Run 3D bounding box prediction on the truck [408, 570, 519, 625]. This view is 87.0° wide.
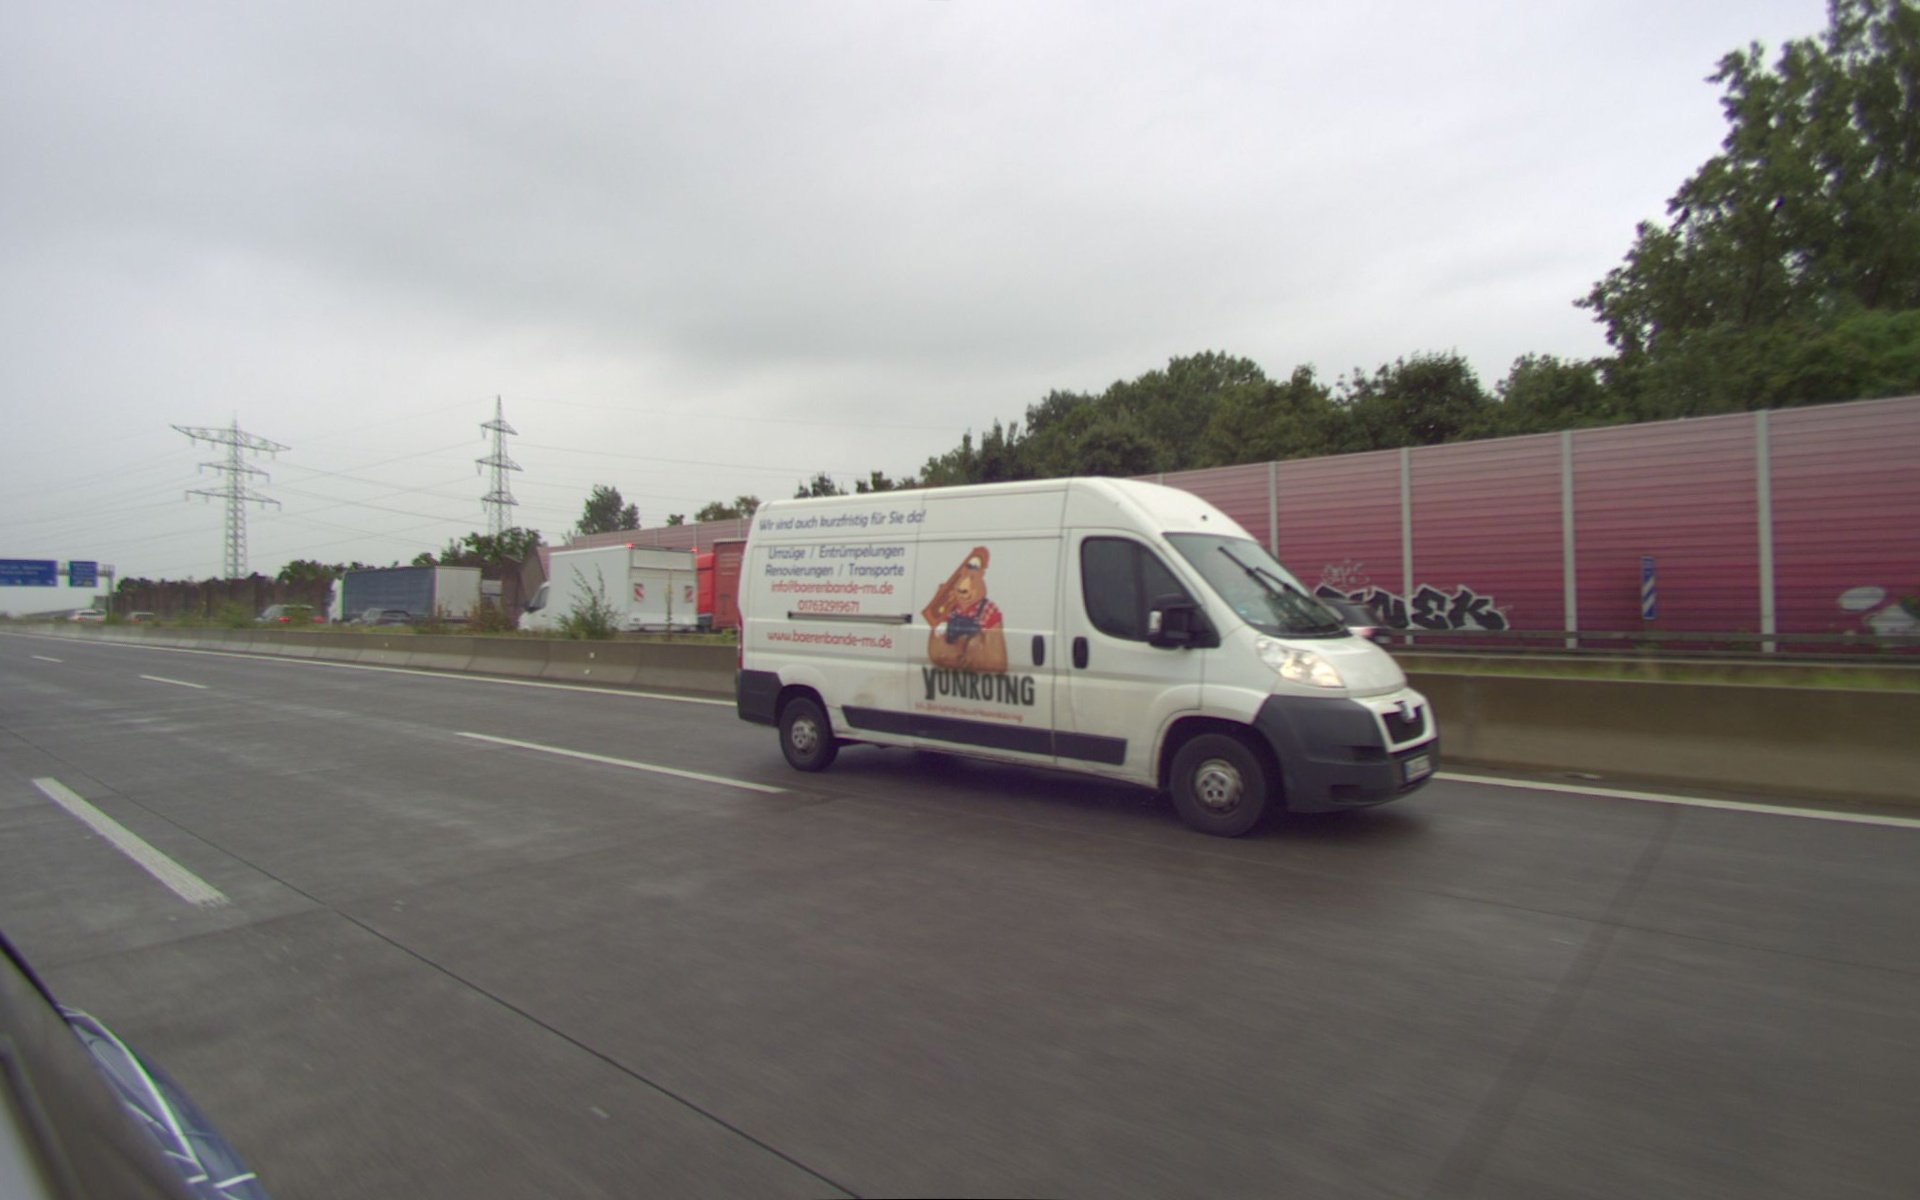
[{"bbox_3d":[-31.855,-0.128,64.695,9.374,3.272,2.910,-1,1,41],"label":"truck"}]

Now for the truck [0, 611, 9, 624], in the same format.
[{"bbox_3d":[-160.399,2.906,168.828,5.418,2.222,2.122,-1,0,42],"label":"truck"}]

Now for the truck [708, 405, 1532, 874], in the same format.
[{"bbox_3d":[0.789,0.252,8.408,6.579,2.498,2.214,-1,-1,41],"label":"truck"}]

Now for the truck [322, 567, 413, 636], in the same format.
[{"bbox_3d":[-36.911,0.078,62.998,6.048,4.058,3.015,-1,1,41],"label":"truck"}]

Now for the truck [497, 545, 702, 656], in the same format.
[{"bbox_3d":[-10.550,0.023,29.166,7.276,2.849,2.243,-1,1,41],"label":"truck"}]

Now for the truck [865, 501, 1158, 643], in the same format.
[{"bbox_3d":[1.214,-0.637,28.947,8.489,3.517,2.752,-1,0,41],"label":"truck"}]

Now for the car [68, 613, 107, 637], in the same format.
[{"bbox_3d":[-77.362,2.228,89.759,4.789,2.029,1.973,-1,0,41],"label":"car"}]

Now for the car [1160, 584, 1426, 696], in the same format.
[{"bbox_3d":[6.233,0.703,19.196,4.384,1.873,1.974,-1,0,39],"label":"car"}]

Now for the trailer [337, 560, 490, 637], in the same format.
[{"bbox_3d":[-31.935,-0.022,58.654,14.119,4.058,3.015,-1,1,41],"label":"trailer"}]

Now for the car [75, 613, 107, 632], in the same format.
[{"bbox_3d":[-93.175,2.396,108.489,5.132,2.029,1.972,-1,0,42],"label":"car"}]

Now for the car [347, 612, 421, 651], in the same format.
[{"bbox_3d":[-29.721,1.614,52.178,4.387,1.873,1.973,-1,0,41],"label":"car"}]

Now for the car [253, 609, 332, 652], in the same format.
[{"bbox_3d":[-30.991,1.372,46.960,4.387,1.873,1.973,-1,0,41],"label":"car"}]

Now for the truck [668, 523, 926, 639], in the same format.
[{"bbox_3d":[-5.998,-0.493,35.265,10.613,3.517,2.752,-1,0,41],"label":"truck"}]

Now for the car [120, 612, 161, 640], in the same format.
[{"bbox_3d":[-62.711,1.969,77.423,4.237,2.029,1.700,-1,0,41],"label":"car"}]
